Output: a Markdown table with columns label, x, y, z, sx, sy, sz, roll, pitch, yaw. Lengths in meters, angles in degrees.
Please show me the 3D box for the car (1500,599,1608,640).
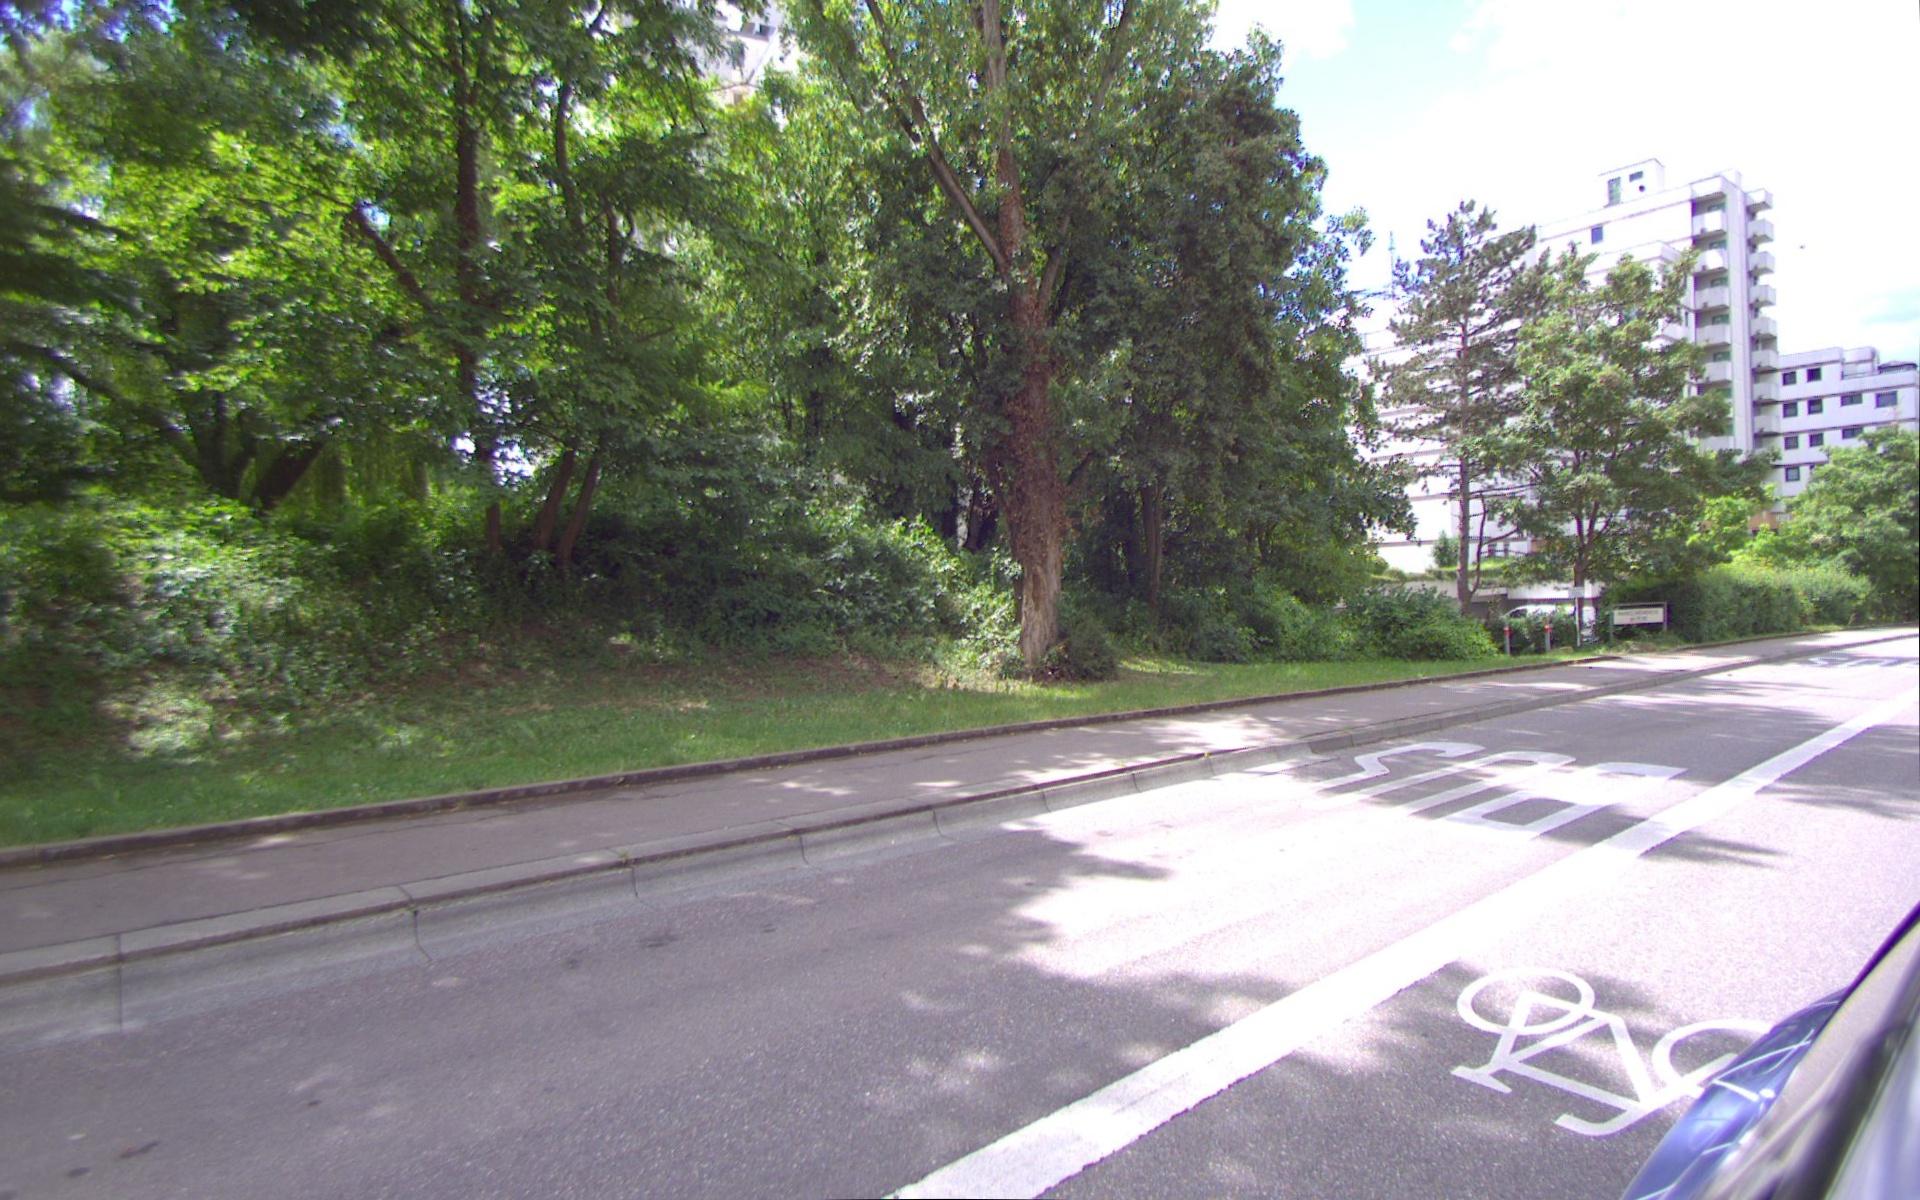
| label | x | y | z | sx | sy | sz | roll | pitch | yaw |
| --- | --- | --- | --- | --- | --- | --- | --- | --- | --- |
| car | 31.646 | 0.994 | 54.046 | 1.962 | 2.039 | 4.549 | -1 | 0 | -34 |
